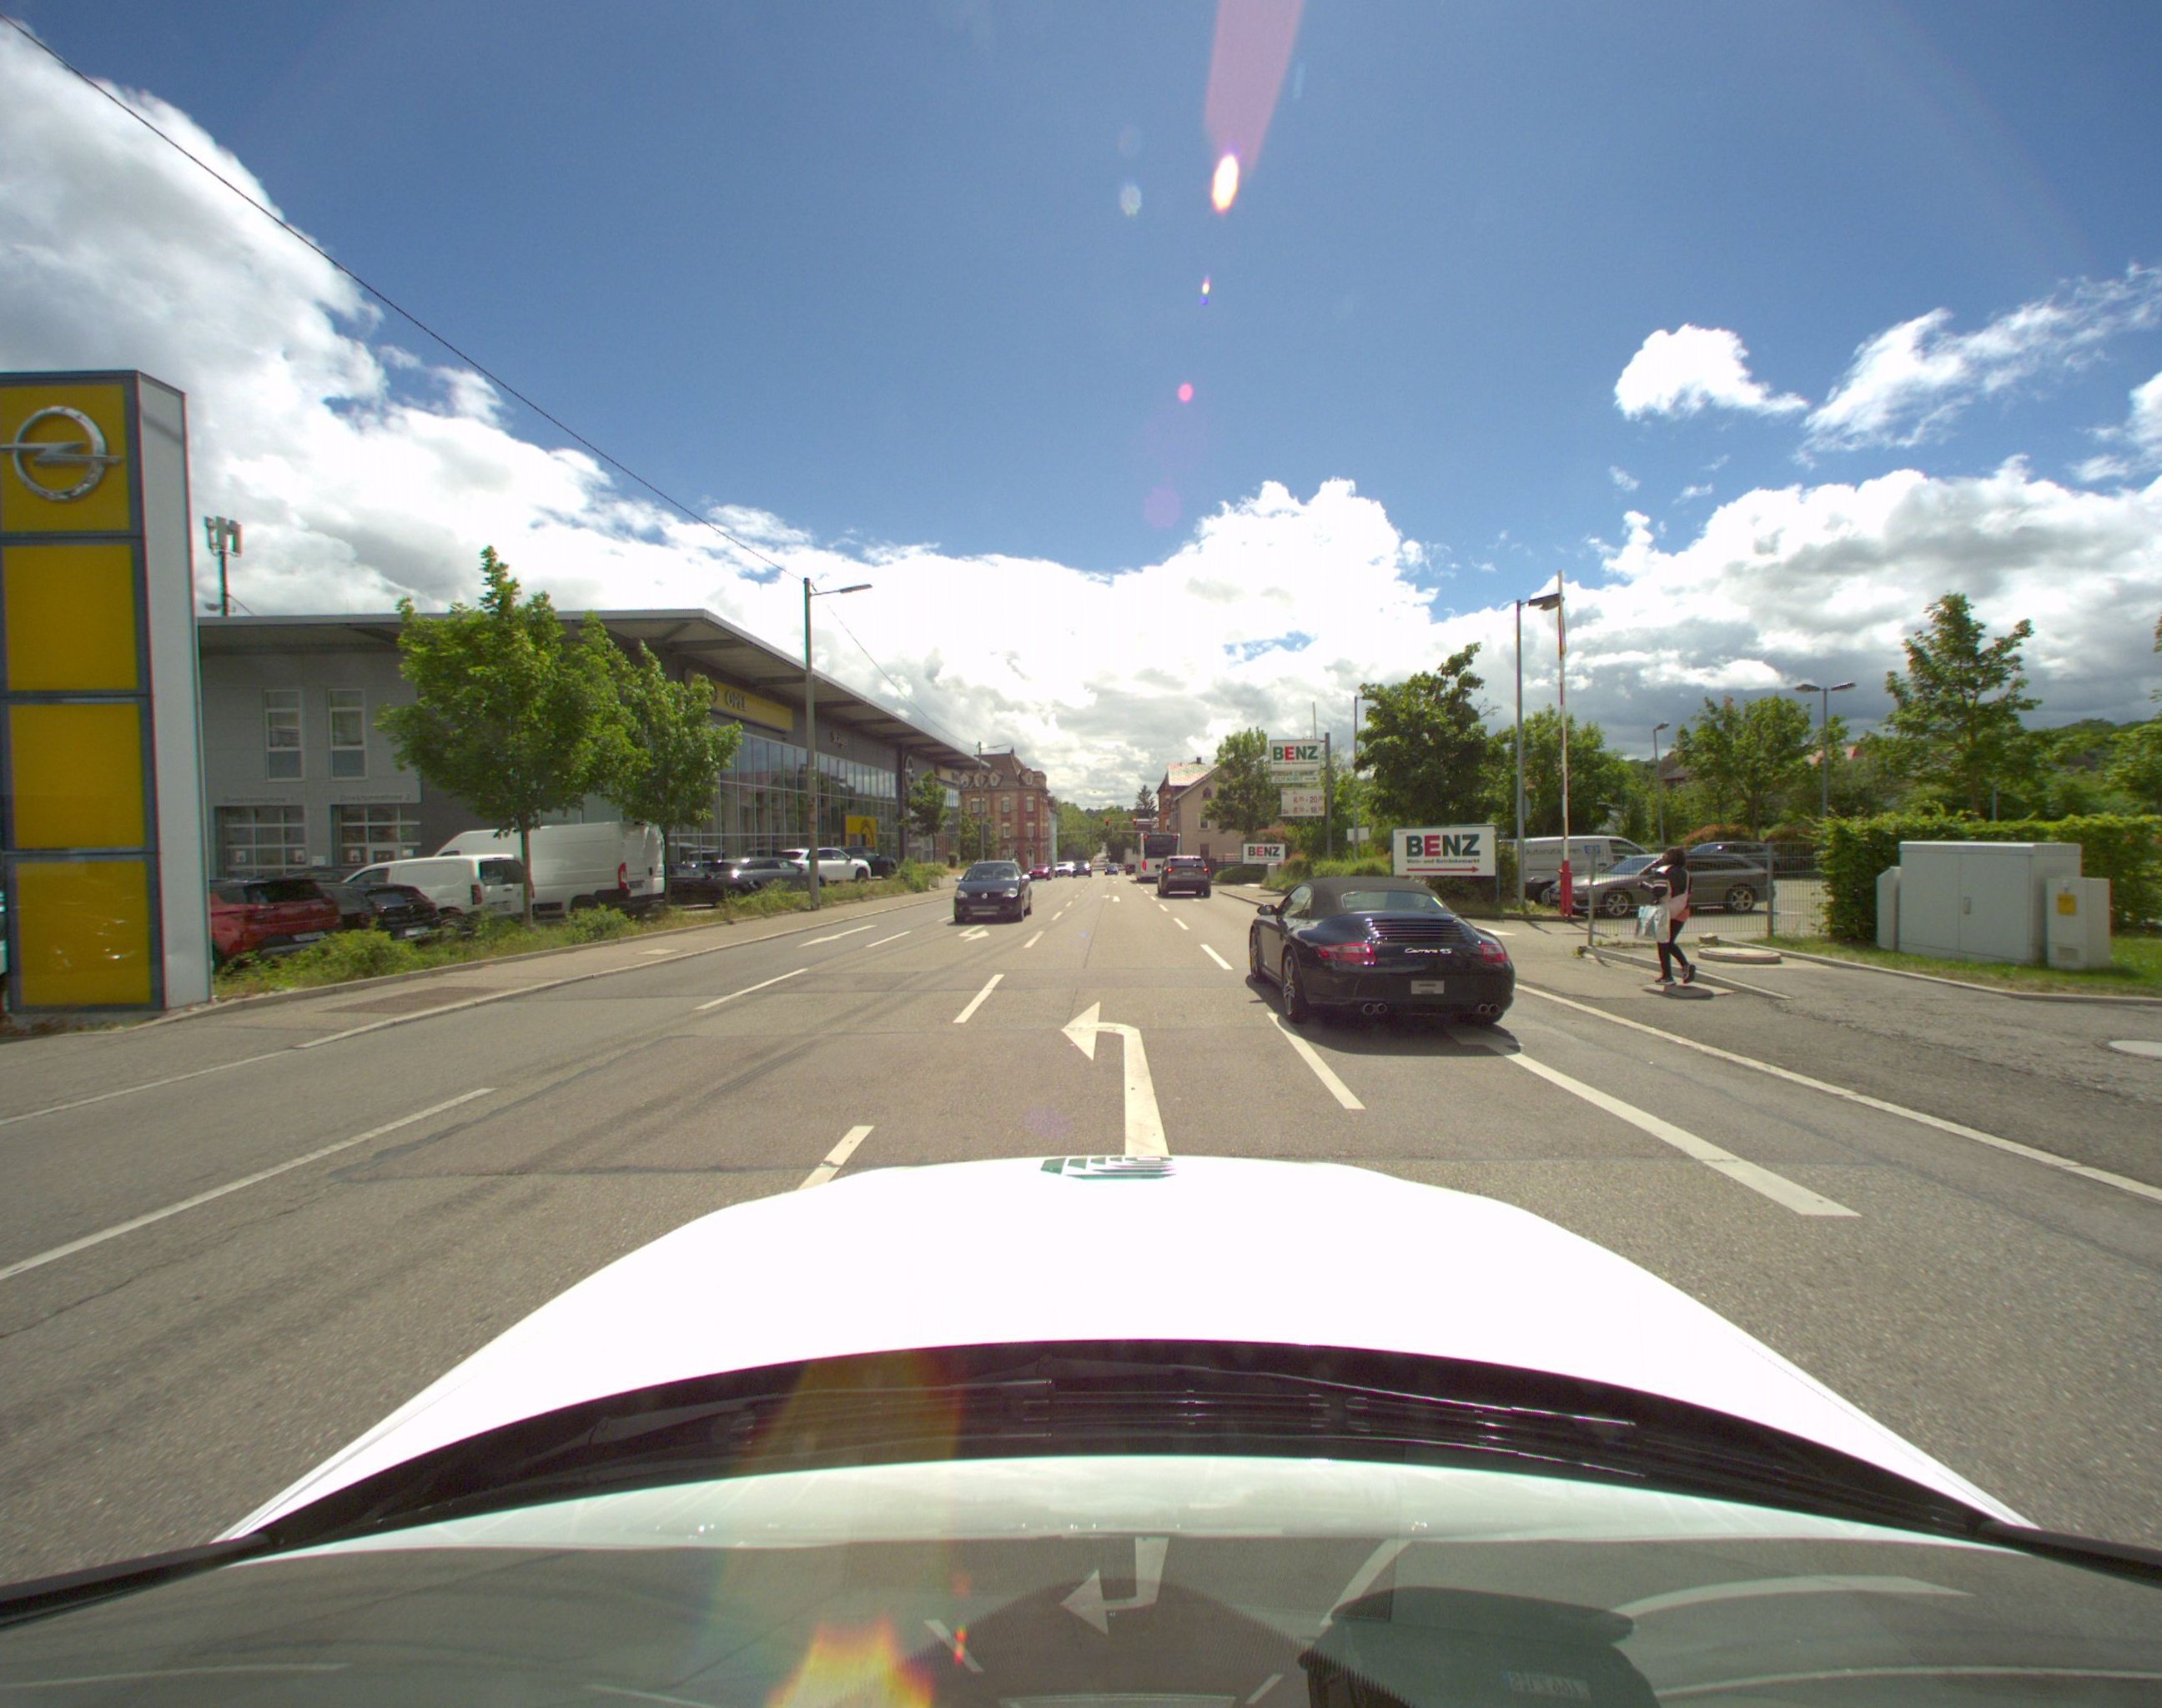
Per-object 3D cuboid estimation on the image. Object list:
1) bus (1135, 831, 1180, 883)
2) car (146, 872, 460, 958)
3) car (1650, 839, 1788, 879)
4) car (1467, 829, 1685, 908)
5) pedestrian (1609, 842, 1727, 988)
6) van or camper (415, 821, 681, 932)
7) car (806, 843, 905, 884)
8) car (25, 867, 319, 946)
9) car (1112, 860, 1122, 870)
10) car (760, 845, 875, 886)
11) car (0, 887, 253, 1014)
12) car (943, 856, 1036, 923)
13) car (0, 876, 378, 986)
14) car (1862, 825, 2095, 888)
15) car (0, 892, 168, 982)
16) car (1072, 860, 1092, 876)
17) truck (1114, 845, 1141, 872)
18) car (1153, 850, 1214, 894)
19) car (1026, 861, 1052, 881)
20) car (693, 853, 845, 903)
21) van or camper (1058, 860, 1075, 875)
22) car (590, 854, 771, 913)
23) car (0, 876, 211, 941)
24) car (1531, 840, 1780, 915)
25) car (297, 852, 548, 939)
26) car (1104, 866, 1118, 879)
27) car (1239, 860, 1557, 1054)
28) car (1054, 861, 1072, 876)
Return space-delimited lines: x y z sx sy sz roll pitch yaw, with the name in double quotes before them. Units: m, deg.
"bus" 5.282 0.021 57.461 2.789 3.197 12.211 -1 2 4
"car" -14.240 1.082 15.087 3.972 1.409 1.929 -1 0 1
"car" 24.580 0.161 31.471 3.859 1.369 1.888 -2 0 -1
"car" 13.336 0.379 22.101 4.700 1.848 2.085 -3 -1 -5
"pedestrian" 6.519 0.643 9.086 0.685 1.536 0.857 -2 1 2
"van or camper" -13.117 0.504 20.322 5.008 2.530 2.319 -1 2 1
"car" -10.702 0.397 38.977 1.975 1.698 4.513 0 2 28
"car" -19.506 1.099 17.622 4.212 1.536 1.929 -1 0 1
"car" 7.326 2.323 167.299 1.826 1.881 4.001 -2 1 1
"car" -10.862 0.465 33.969 1.913 1.573 4.580 -1 -1 26
"car" -13.889 1.213 10.686 3.973 1.409 2.000 -1 0 1
"car" -2.258 0.843 21.130 1.823 1.509 4.277 -2 0 1
"car" -14.057 1.175 13.000 3.968 1.491 2.003 -1 2 5
"car" 24.625 0.047 22.457 4.419 1.491 1.888 -2 0 -1
"car" -19.724 1.504 14.955 3.685 1.398 1.847 -1 2 -1
"car" 0.165 1.358 81.226 1.857 1.540 4.108 -1 -1 2
"truck" 5.586 0.604 99.925 2.658 3.108 9.033 -2 -1 0
"car" 4.000 0.706 32.348 1.924 1.583 4.207 -1 -1 0
"car" -3.517 1.373 68.278 1.865 1.491 3.848 -4 0 0
"car" -10.892 0.777 28.820 1.877 1.450 4.863 0 2 30
"van or camper" -1.834 1.734 106.968 1.963 1.914 5.130 -1 -1 2
"car" -11.892 0.833 24.347 4.499 1.509 1.920 -2 0 -40
"car" -24.864 1.333 20.525 3.687 1.398 1.845 -1 2 -3
"car" 13.437 0.534 19.266 4.416 1.481 2.001 -2 -1 1
"car" -14.236 0.858 17.751 3.965 1.705 2.005 -1 2 7
"car" 4.248 2.616 115.077 1.857 1.666 4.260 -1 -1 2
"car" 2.852 0.821 8.407 1.922 1.376 4.213 -1 1 4
"car" -2.025 1.639 93.095 1.858 1.540 4.106 -1 -1 0
